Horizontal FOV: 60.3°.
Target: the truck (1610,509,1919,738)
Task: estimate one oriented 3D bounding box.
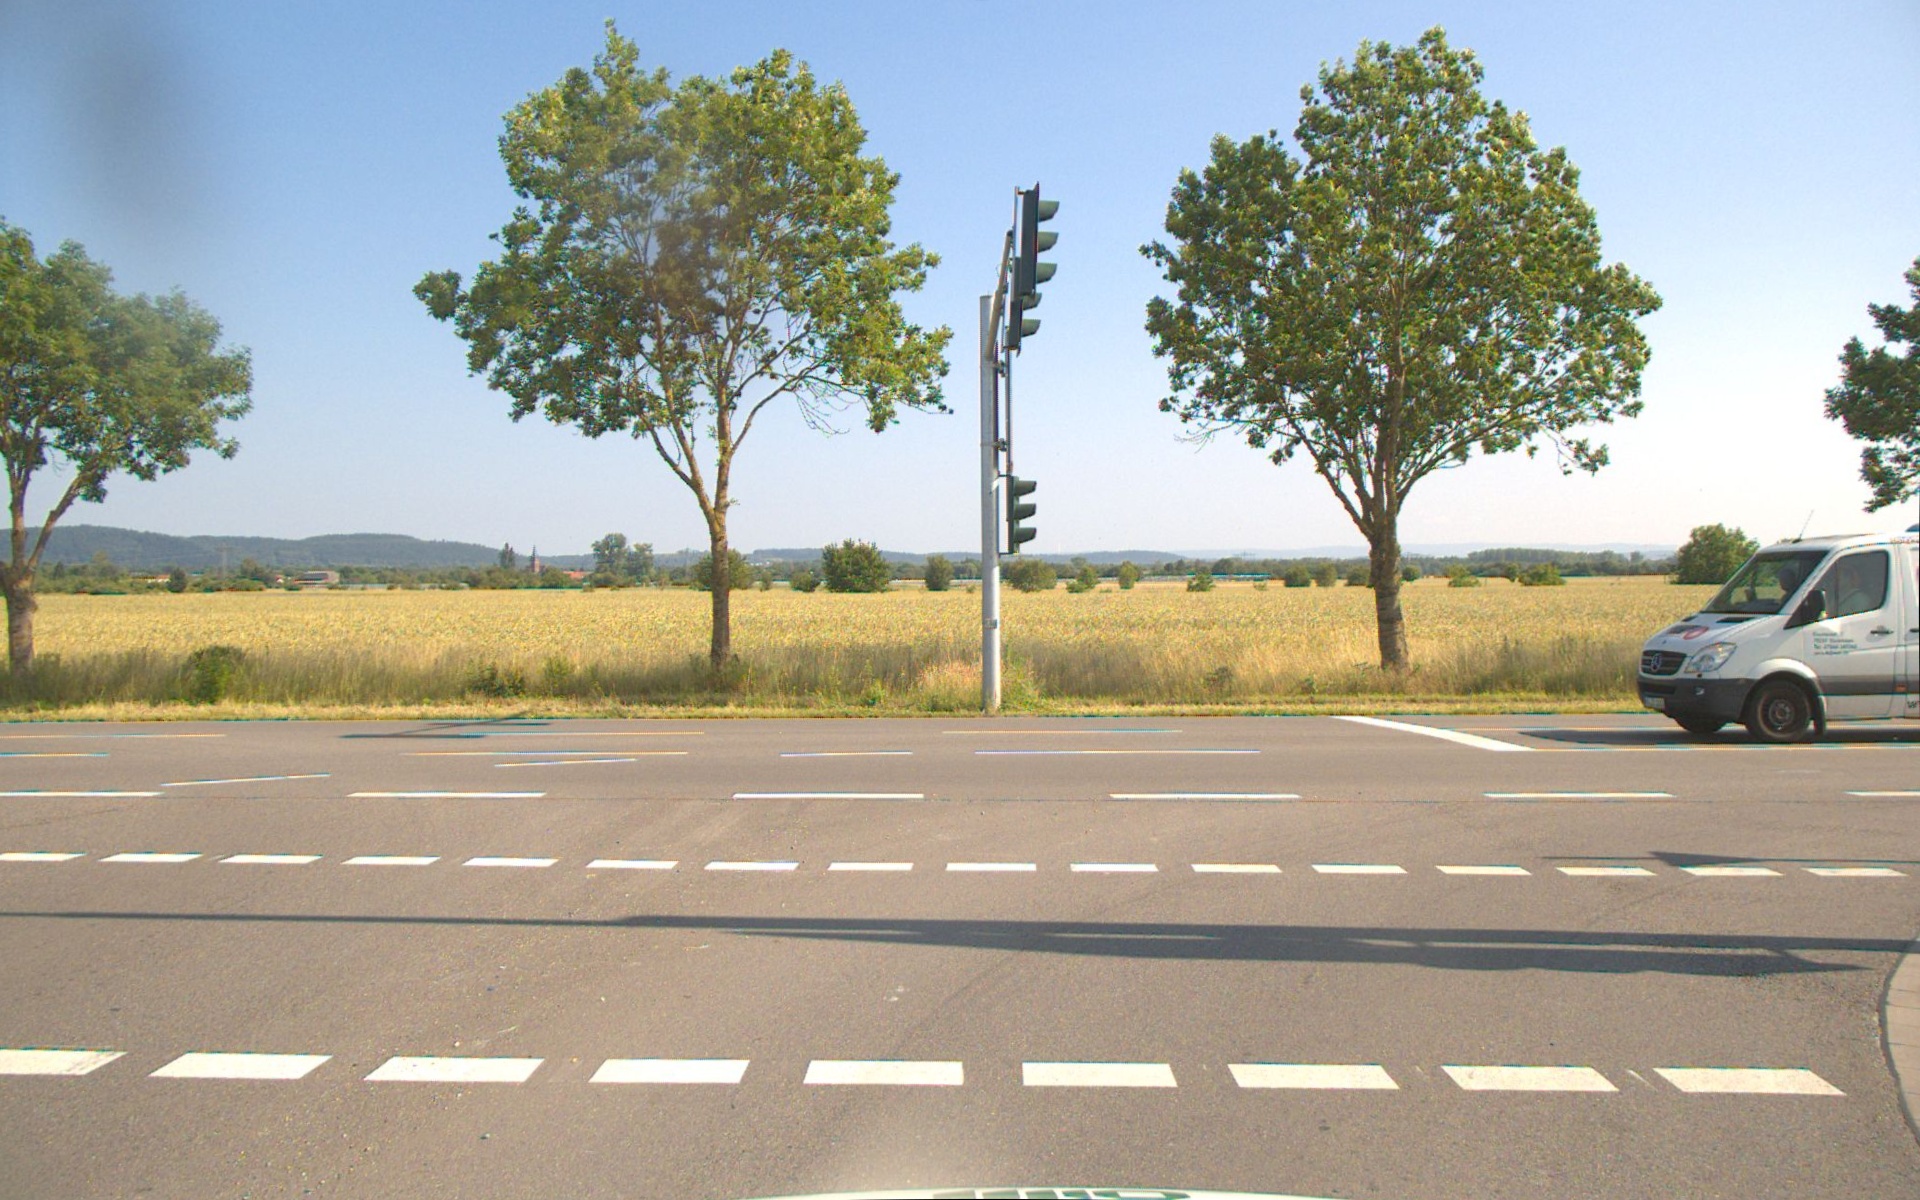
[{"bbox_3d":[10.872,0.249,18.955,6.053,2.447,2.070,0,-1,-2],"label":"truck"}]
